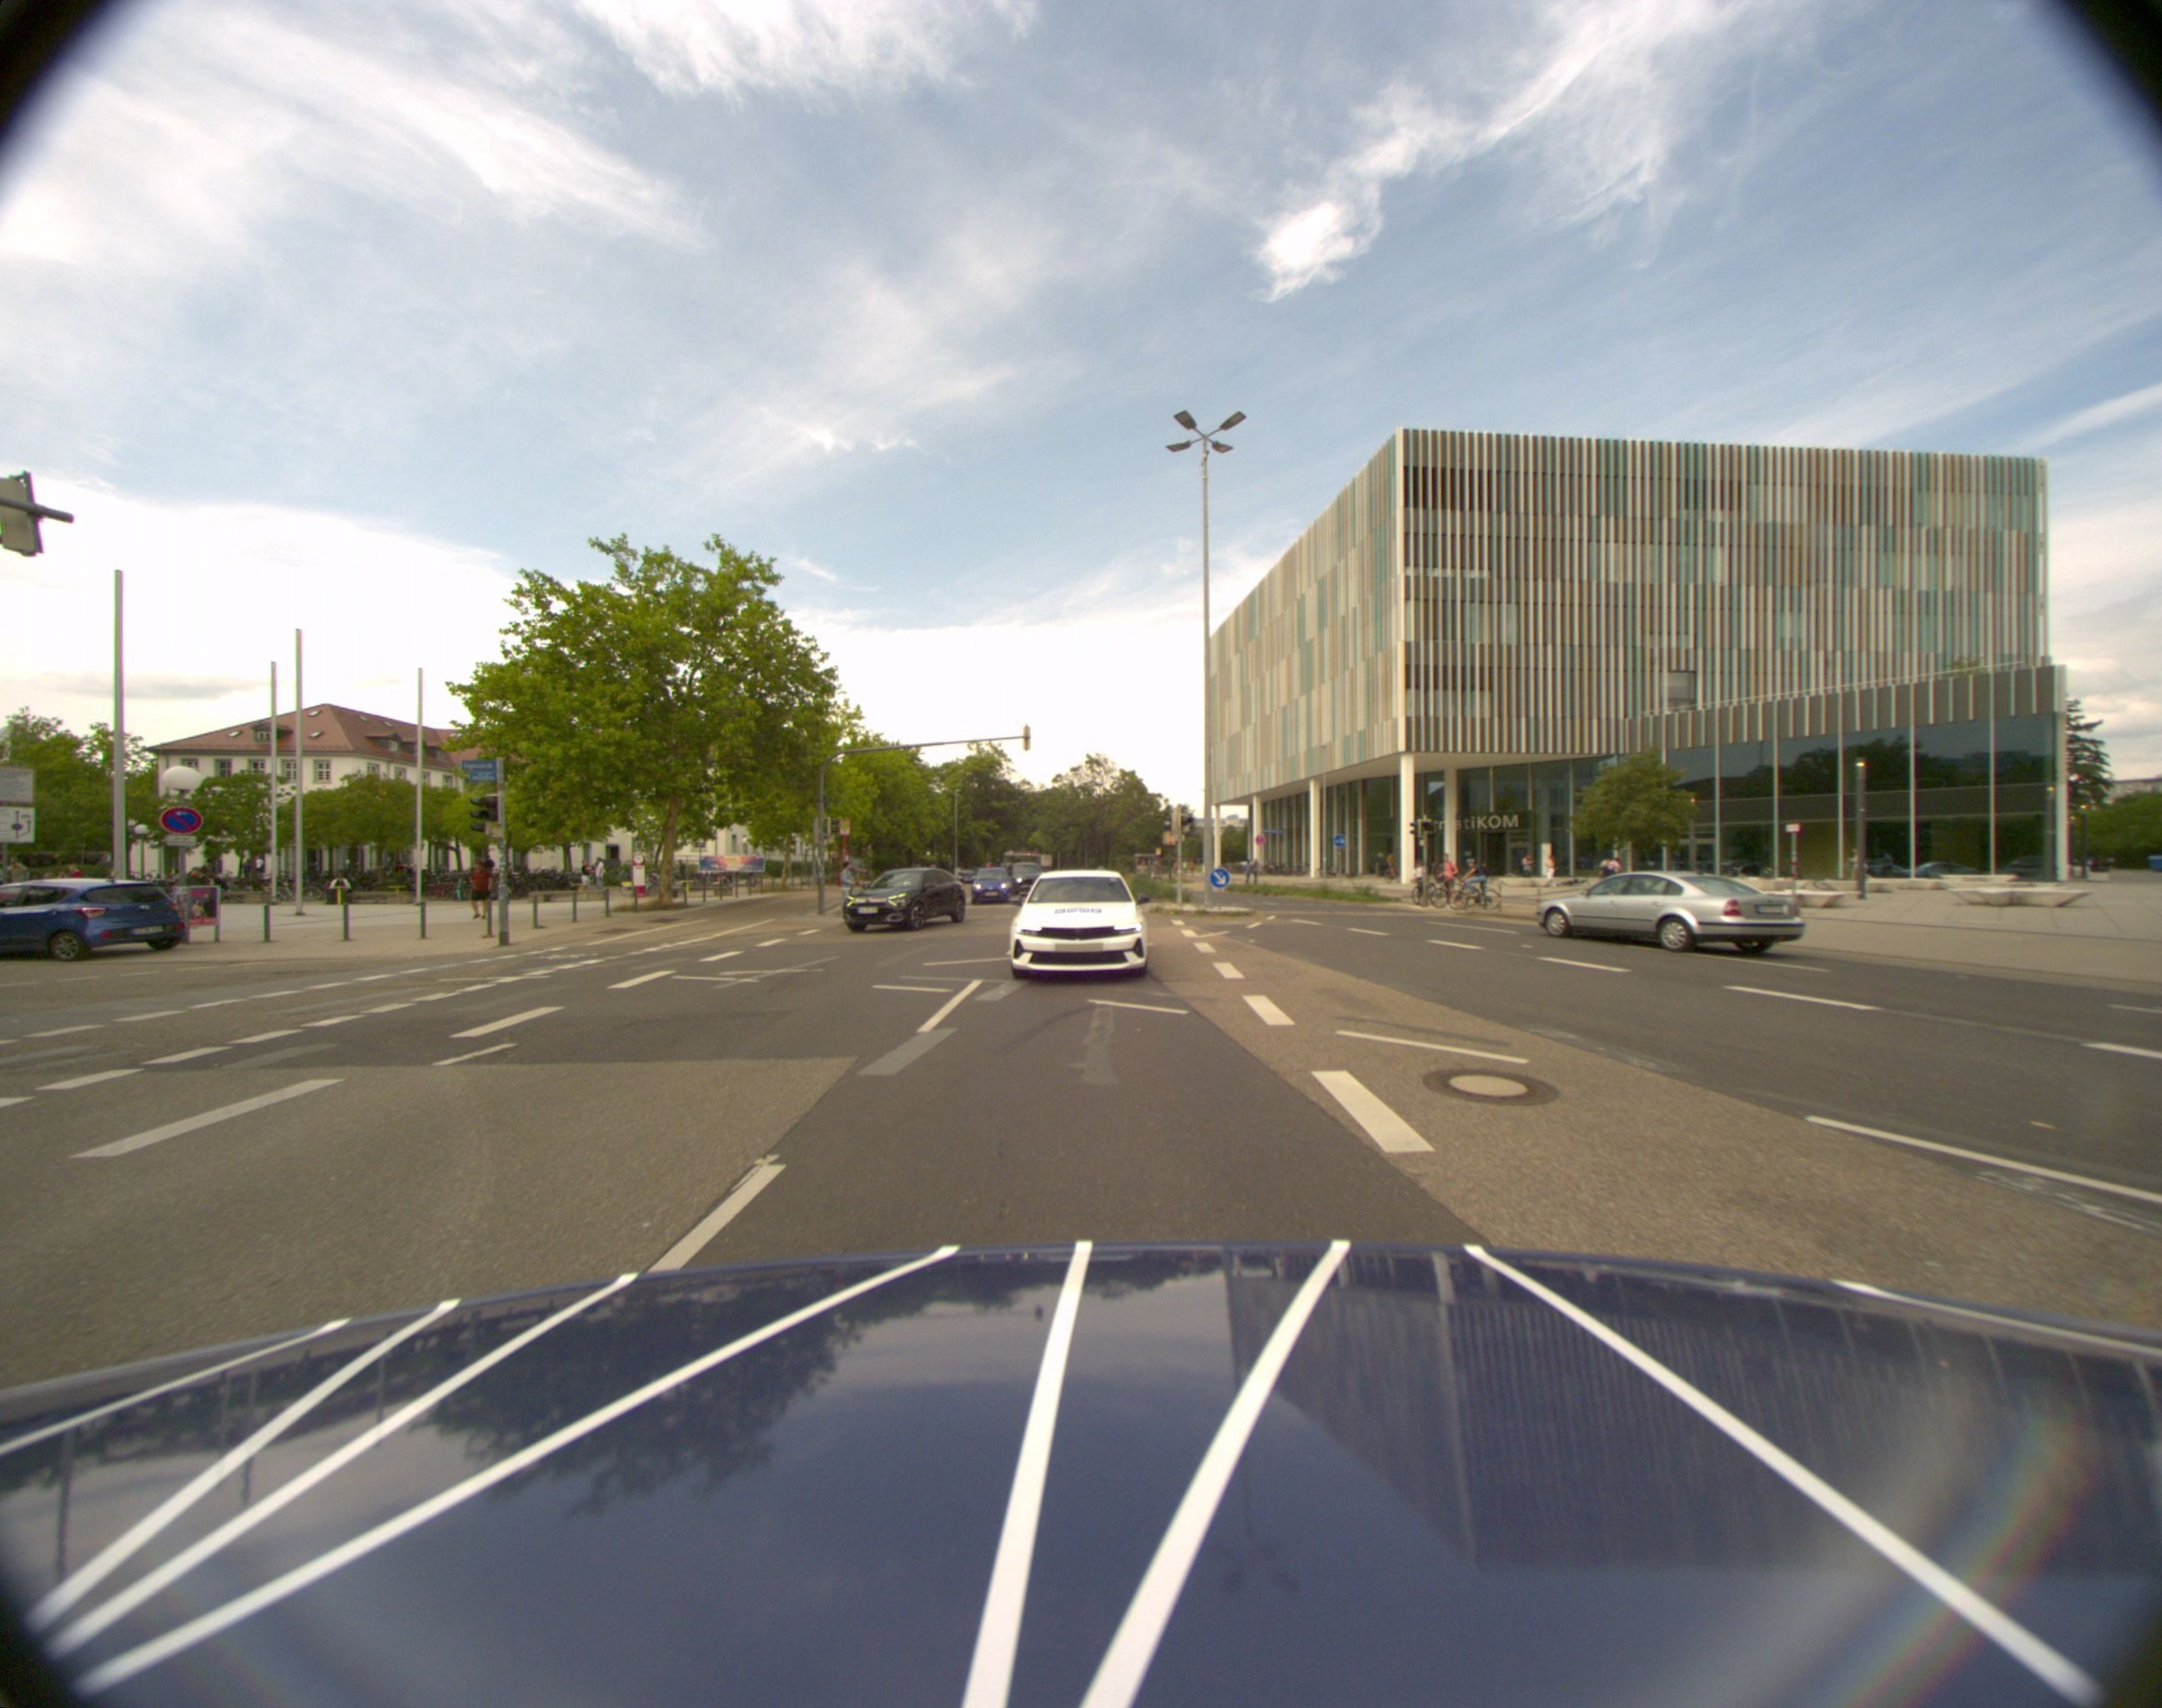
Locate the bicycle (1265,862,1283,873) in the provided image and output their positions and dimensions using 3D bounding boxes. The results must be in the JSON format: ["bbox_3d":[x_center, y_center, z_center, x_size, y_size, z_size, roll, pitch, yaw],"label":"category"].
[{"bbox_3d":[18.104,1.252,71.425,1.582,1.017,0.389,-2,1,-10],"label":"bicycle"}]

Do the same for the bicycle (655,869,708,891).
[{"bbox_3d":[-21.903,1.426,41.654,2.473,1.136,0.717,-1,0,-3],"label":"bicycle"}]

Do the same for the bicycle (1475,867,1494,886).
[{"bbox_3d":[23.088,1.294,43.483,1.549,1.023,0.393,-3,0,-42],"label":"bicycle"}]

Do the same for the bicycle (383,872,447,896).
[{"bbox_3d":[-33.228,1.472,37.908,2.473,1.136,0.717,-1,0,-3],"label":"bicycle"}]

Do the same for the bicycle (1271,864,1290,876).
[{"bbox_3d":[18.127,1.419,68.970,1.582,1.017,0.389,-2,1,-10],"label":"bicycle"}]

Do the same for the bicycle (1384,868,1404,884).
[{"bbox_3d":[19.890,1.371,48.312,1.614,0.932,0.393,-3,0,-38],"label":"bicycle"}]

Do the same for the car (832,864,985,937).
[{"bbox_3d":[-4.288,1.123,19.590,1.801,1.547,4.181,-2,0,20],"label":"car"}]

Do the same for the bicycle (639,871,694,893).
[{"bbox_3d":[-21.728,1.465,39.843,2.473,1.136,0.717,-1,0,-3],"label":"bicycle"}]

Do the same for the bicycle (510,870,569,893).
[{"bbox_3d":[-28.145,1.423,39.505,2.473,1.136,0.717,-1,0,-3],"label":"bicycle"}]

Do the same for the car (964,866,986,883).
[{"bbox_3d":[-9.257,1.782,66.729,1.704,1.361,3.830,0,0,-5],"label":"car"}]

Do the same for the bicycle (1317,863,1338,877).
[{"bbox_3d":[19.008,1.233,58.639,1.546,0.932,0.394,-2,0,-10],"label":"bicycle"}]

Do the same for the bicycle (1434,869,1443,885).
[{"bbox_3d":[21.621,1.390,45.917,0.393,0.932,1.601,-2,0,29],"label":"bicycle"}]

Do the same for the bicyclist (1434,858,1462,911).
[{"bbox_3d":[12.772,1.046,26.459,0.602,1.796,0.561,-2,1,-18],"label":"bicyclist"}]

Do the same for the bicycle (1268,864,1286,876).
[{"bbox_3d":[18.258,1.464,70.860,1.582,1.017,0.389,-2,1,-10],"label":"bicycle"}]

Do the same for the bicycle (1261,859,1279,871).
[{"bbox_3d":[17.867,1.050,71.905,1.582,1.017,0.389,2,0,-10],"label":"bicycle"}]

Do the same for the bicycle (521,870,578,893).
[{"bbox_3d":[-28.193,1.459,40.336,2.473,1.136,0.717,-1,0,-3],"label":"bicycle"}]

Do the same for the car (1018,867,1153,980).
[{"bbox_3d":[-0.127,0.958,12.463,1.745,1.430,4.780,0,0,-5],"label":"car"}]

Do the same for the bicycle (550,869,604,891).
[{"bbox_3d":[-28.339,1.461,42.763,2.473,1.136,0.717,-1,0,-3],"label":"bicycle"}]

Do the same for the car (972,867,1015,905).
[{"bbox_3d":[-3.728,1.321,32.818,1.704,1.485,3.830,0,0,-5],"label":"car"}]

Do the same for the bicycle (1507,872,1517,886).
[{"bbox_3d":[24.433,1.412,43.059,0.393,0.669,1.799,-2,0,33],"label":"bicycle"}]

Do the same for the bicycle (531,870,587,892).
[{"bbox_3d":[-28.244,1.458,41.131,2.473,1.136,0.717,-1,0,-3],"label":"bicycle"}]

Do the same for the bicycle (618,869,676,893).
[{"bbox_3d":[-21.881,1.340,38.308,2.473,1.136,0.717,-1,0,-3],"label":"bicycle"}]

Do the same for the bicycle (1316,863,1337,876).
[{"bbox_3d":[19.203,1.221,59.350,1.546,0.932,0.389,-2,0,-10],"label":"bicycle"}]

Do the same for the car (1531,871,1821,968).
[{"bbox_3d":[10.942,1.101,14.517,1.766,1.480,4.544,0,0,-4],"label":"car"}]

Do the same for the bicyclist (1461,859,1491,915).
[{"bbox_3d":[13.029,1.067,25.053,0.602,1.796,0.561,-2,1,-18],"label":"bicyclist"}]

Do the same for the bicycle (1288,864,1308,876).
[{"bbox_3d":[18.859,1.401,66.055,1.582,1.017,0.389,-2,1,-10],"label":"bicycle"}]

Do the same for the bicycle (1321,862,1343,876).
[{"bbox_3d":[19.146,1.125,57.944,1.546,0.989,0.399,-2,0,-9],"label":"bicycle"}]

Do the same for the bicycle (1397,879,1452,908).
[{"bbox_3d":[12.783,1.456,28.262,1.824,0.983,0.727,-2,1,-18],"label":"bicycle"}]

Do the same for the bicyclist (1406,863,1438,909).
[{"bbox_3d":[12.653,1.168,28.220,0.729,1.663,0.722,-2,1,-18],"label":"bicyclist"}]

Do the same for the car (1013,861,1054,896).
[{"bbox_3d":[-2.402,1.206,38.607,1.905,1.639,4.643,-1,0,-3],"label":"car"}]

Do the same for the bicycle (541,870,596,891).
[{"bbox_3d":[-28.289,1.462,41.953,2.473,1.136,0.717,-1,0,-3],"label":"bicycle"}]

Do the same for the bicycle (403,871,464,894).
[{"bbox_3d":[-33.305,1.471,39.103,2.473,1.136,0.717,-1,0,-3],"label":"bicycle"}]

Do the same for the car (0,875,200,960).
[{"bbox_3d":[-19.962,1.200,14.725,3.582,1.483,1.673,-1,1,-5],"label":"car"}]

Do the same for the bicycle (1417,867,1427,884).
[{"bbox_3d":[20.833,1.321,46.457,0.393,0.932,1.601,-2,0,29],"label":"bicycle"}]

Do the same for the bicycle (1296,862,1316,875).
[{"bbox_3d":[18.996,1.221,64.117,1.582,1.017,0.389,-2,1,-10],"label":"bicycle"}]
